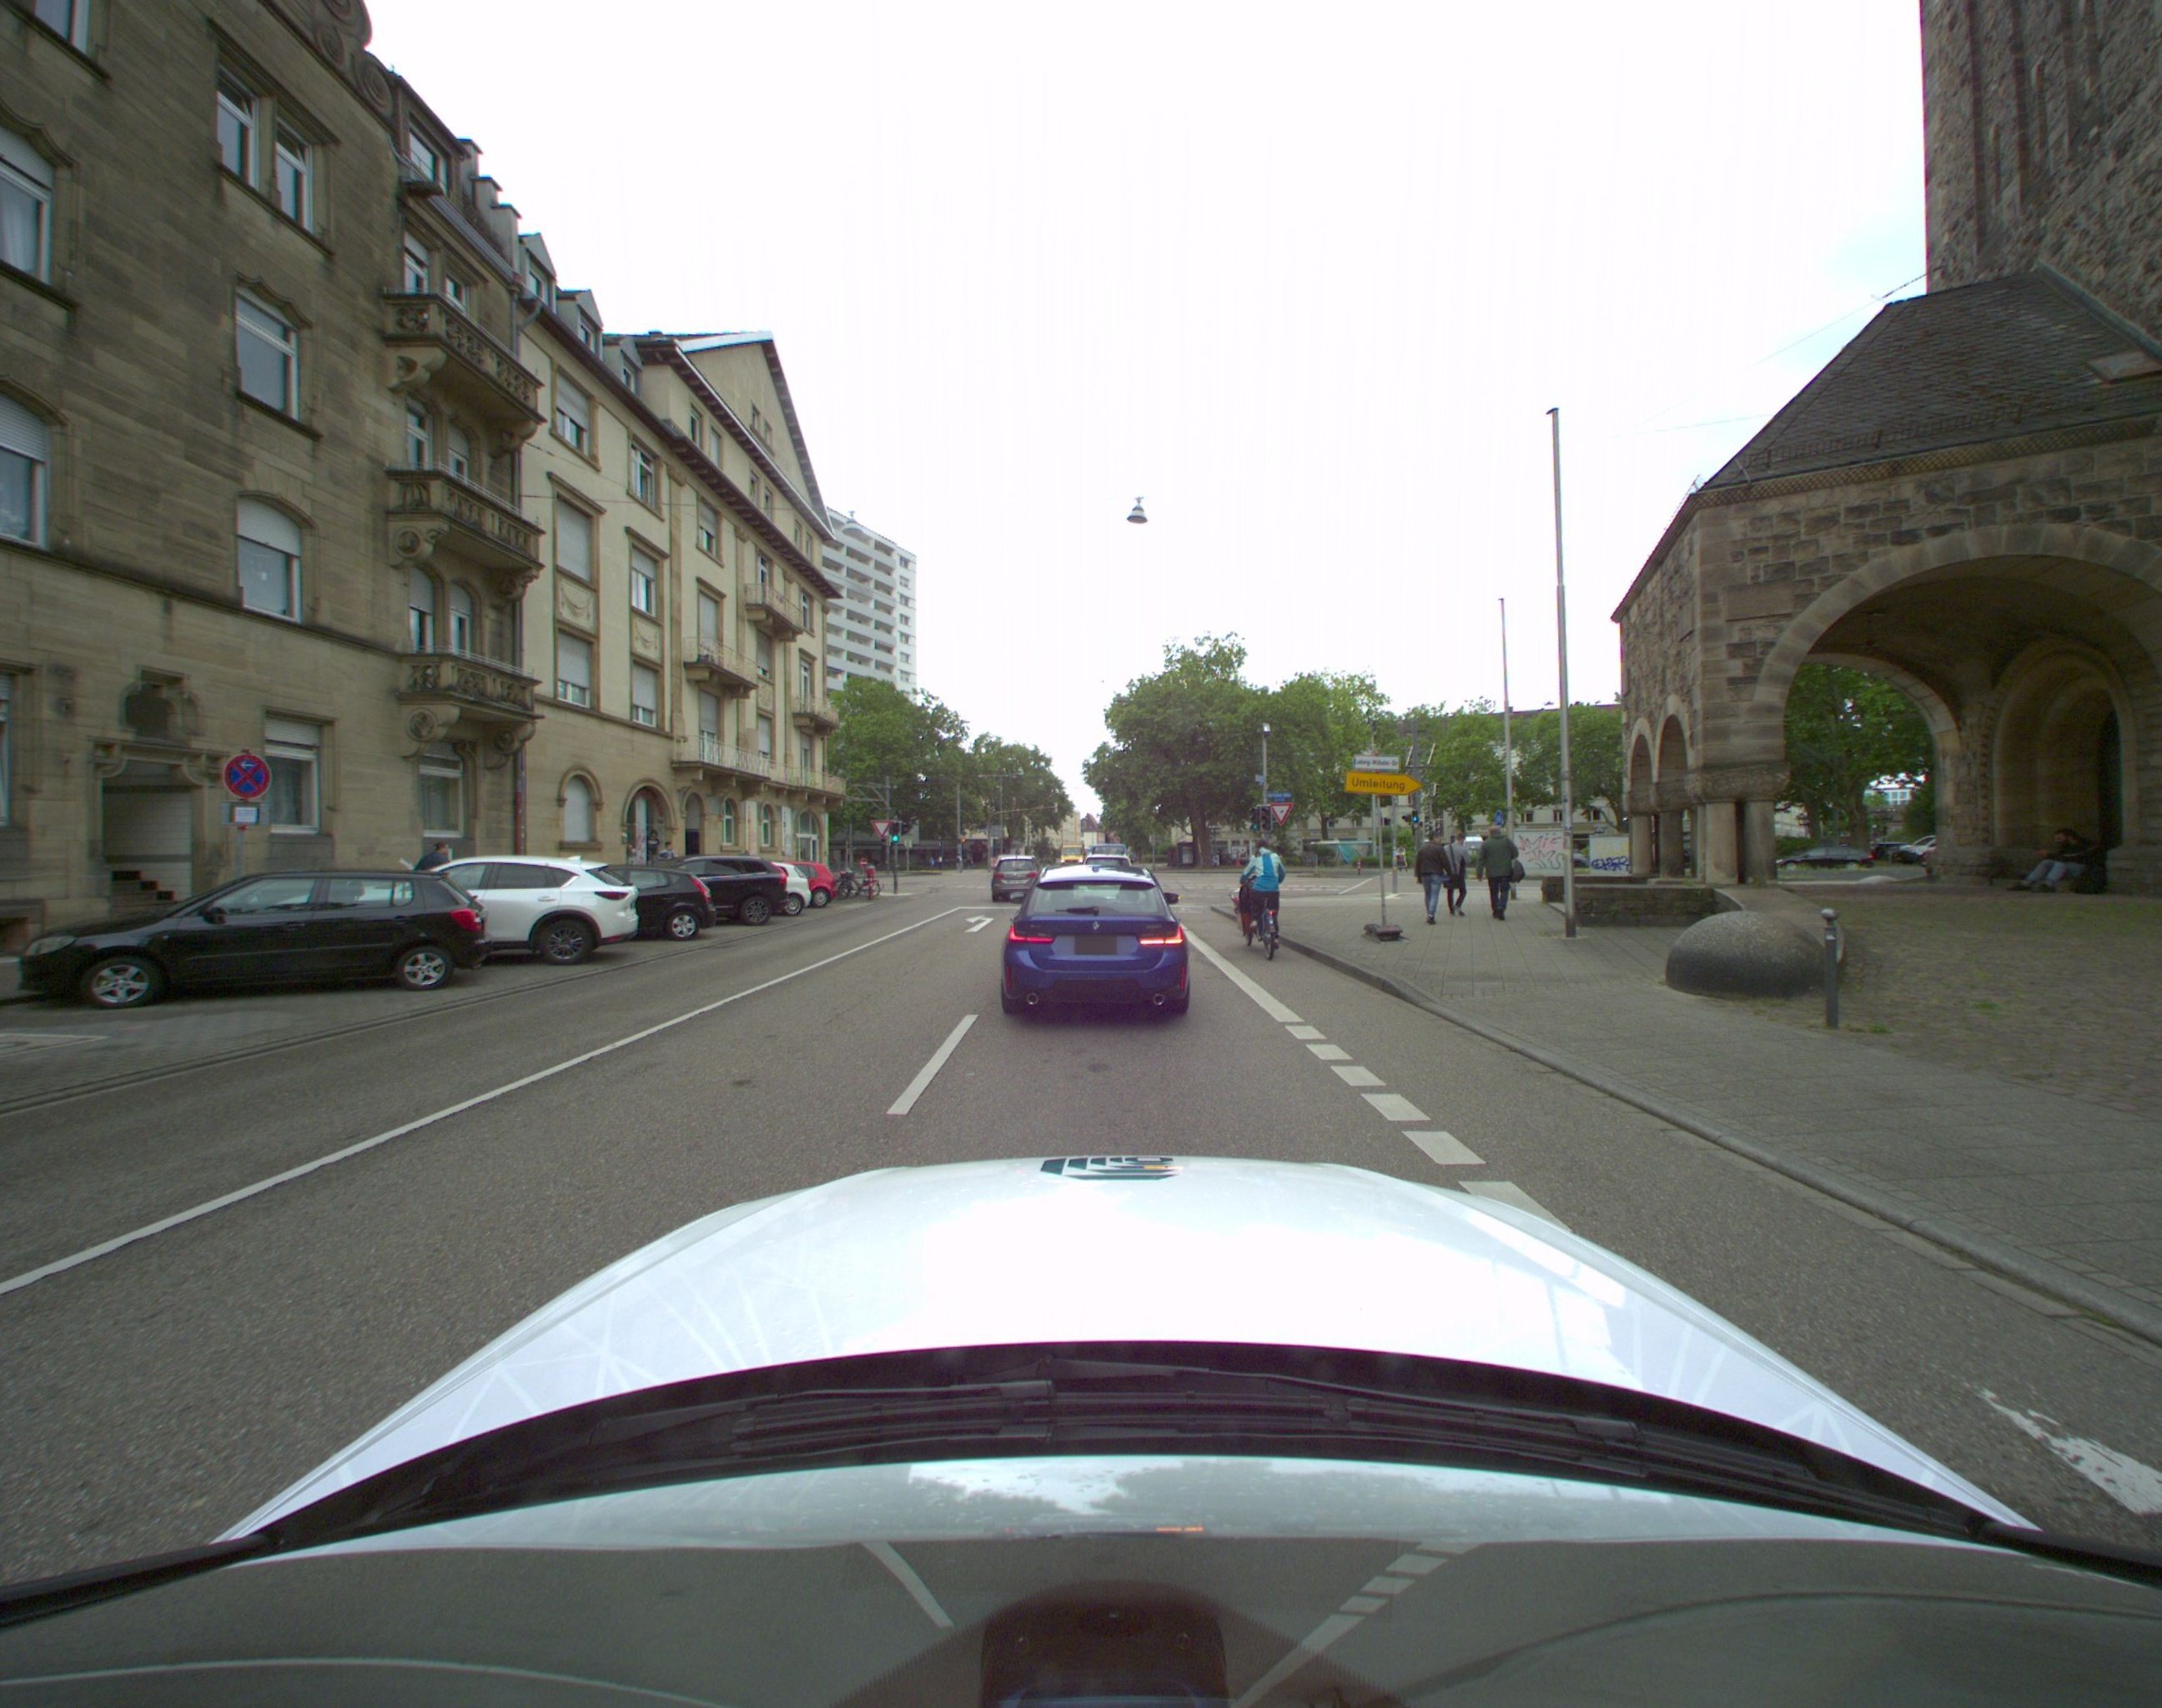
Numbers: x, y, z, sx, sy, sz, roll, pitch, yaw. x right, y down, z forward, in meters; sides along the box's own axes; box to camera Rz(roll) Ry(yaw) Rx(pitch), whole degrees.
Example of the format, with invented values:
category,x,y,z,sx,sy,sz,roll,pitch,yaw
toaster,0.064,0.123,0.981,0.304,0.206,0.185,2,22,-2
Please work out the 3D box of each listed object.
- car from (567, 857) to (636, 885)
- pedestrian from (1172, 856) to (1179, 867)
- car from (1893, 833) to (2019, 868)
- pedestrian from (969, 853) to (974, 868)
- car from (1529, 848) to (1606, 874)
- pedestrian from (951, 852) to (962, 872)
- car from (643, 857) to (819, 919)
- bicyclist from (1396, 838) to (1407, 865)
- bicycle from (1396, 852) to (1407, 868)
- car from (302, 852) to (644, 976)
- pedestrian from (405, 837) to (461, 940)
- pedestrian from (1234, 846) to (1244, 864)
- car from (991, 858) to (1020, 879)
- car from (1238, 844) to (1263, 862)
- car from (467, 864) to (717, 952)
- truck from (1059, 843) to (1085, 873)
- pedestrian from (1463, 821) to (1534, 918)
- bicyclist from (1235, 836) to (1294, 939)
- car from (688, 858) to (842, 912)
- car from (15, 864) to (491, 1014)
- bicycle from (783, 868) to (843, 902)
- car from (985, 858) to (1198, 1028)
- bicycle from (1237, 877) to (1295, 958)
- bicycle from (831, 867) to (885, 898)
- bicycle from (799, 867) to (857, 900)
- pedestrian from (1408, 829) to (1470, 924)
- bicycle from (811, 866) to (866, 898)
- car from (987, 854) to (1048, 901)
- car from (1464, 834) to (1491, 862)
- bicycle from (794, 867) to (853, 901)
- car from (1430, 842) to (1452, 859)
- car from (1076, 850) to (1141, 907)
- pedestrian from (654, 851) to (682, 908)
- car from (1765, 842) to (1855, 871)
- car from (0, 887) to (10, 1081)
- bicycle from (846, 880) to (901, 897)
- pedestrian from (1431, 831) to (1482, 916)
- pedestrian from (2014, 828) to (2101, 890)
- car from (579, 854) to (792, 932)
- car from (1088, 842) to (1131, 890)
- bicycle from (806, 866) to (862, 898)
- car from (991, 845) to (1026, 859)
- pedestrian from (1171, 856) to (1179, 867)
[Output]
category,x,y,z,sx,sy,sz,roll,pitch,yaw
car,-14.917,0.517,25.391,0.910,0.834,2.015,0,-1,1
pedestrian,11.778,0.903,101.449,0.814,1.372,0.763,-1,-1,1
car,55.705,-0.188,51.983,5.025,2.096,2.004,-1,-1,24
pedestrian,-13.144,0.751,97.632,0.571,1.771,0.513,-1,0,-11
car,30.303,0.451,50.824,3.940,1.561,1.697,-1,-1,24
pedestrian,-11.304,0.715,74.126,0.668,1.771,0.730,-1,0,43
car,-9.329,0.886,21.875,4.021,1.472,1.546,2,0,-41
bicyclist,20.360,-0.148,51.774,0.608,1.654,0.758,-1,0,23
bicycle,20.383,0.385,51.811,0.546,0.995,2.072,-1,0,24
car,-9.311,0.835,12.938,4.004,1.723,1.827,0,-1,-23
pedestrian,-12.678,0.666,15.950,0.616,1.958,0.551,-1,0,3
pedestrian,15.797,0.072,81.376,0.781,1.743,0.925,-1,-1,0
car,-5.352,1.018,58.240,1.643,1.447,3.512,-1,0,2
car,22.067,-0.108,105.795,2.154,2.200,4.023,-1,0,26
car,-9.481,0.958,15.965,4.017,1.494,1.713,0,-1,-36
truck,-0.754,0.326,69.976,2.068,2.408,5.461,-2,0,0
pedestrian,8.000,0.293,15.657,0.801,1.758,0.969,-3,0,1
bicyclist,2.810,0.498,12.562,0.683,1.518,1.059,-1,0,2
car,-9.522,0.877,24.779,1.663,1.472,4.024,1,0,43
car,-9.619,0.899,9.963,3.829,1.497,1.552,1,-1,-37
bicycle,-9.292,1.067,28.251,1.877,1.035,0.443,4,0,4
car,0.159,0.775,9.141,1.808,1.405,4.322,-1,0,2
bicycle,2.886,0.950,12.873,0.492,1.098,2.139,-1,0,2
bicycle,-8.607,1.080,31.434,1.880,1.035,0.442,5,0,-1
bicycle,-9.173,1.052,29.601,1.880,1.035,0.442,5,0,-1
pedestrian,6.694,0.410,15.277,0.672,1.686,0.969,-3,0,2
bicycle,-9.186,1.051,30.900,1.880,1.035,0.442,5,0,-1
car,-2.213,0.785,29.355,1.726,1.525,4.002,-1,0,2
car,39.210,-0.571,80.430,2.214,2.639,5.480,-1,0,28
bicycle,-9.176,1.068,29.065,1.880,1.035,0.442,5,0,-1
car,35.054,-0.341,79.298,1.649,1.515,3.962,-1,0,28
car,0.842,0.698,25.038,1.808,1.592,4.002,-1,0,2
pedestrian,-13.070,0.790,25.810,0.564,1.785,0.551,-1,0,3
car,41.205,0.134,46.112,3.425,1.561,1.697,-1,-1,24
car,-9.141,0.923,4.205,4.016,1.417,1.644,1,-1,-34
bicycle,-8.242,1.374,32.464,1.880,0.445,1.029,5,1,-1
pedestrian,7.722,0.398,16.783,0.629,1.673,0.971,-3,0,8
pedestrian,15.466,0.078,12.910,0.665,0.951,0.618,-1,0,24
car,-9.273,0.825,19.303,4.247,1.652,1.711,0,-1,-41
car,1.290,0.510,36.992,1.808,2.005,4.002,-1,0,2
bicycle,-9.170,1.032,30.264,1.880,1.035,0.442,5,0,-1
car,-9.375,-0.286,104.937,4.014,1.706,1.980,0,-1,-32
pedestrian,11.769,0.929,101.718,0.850,1.314,0.763,-1,-1,1
